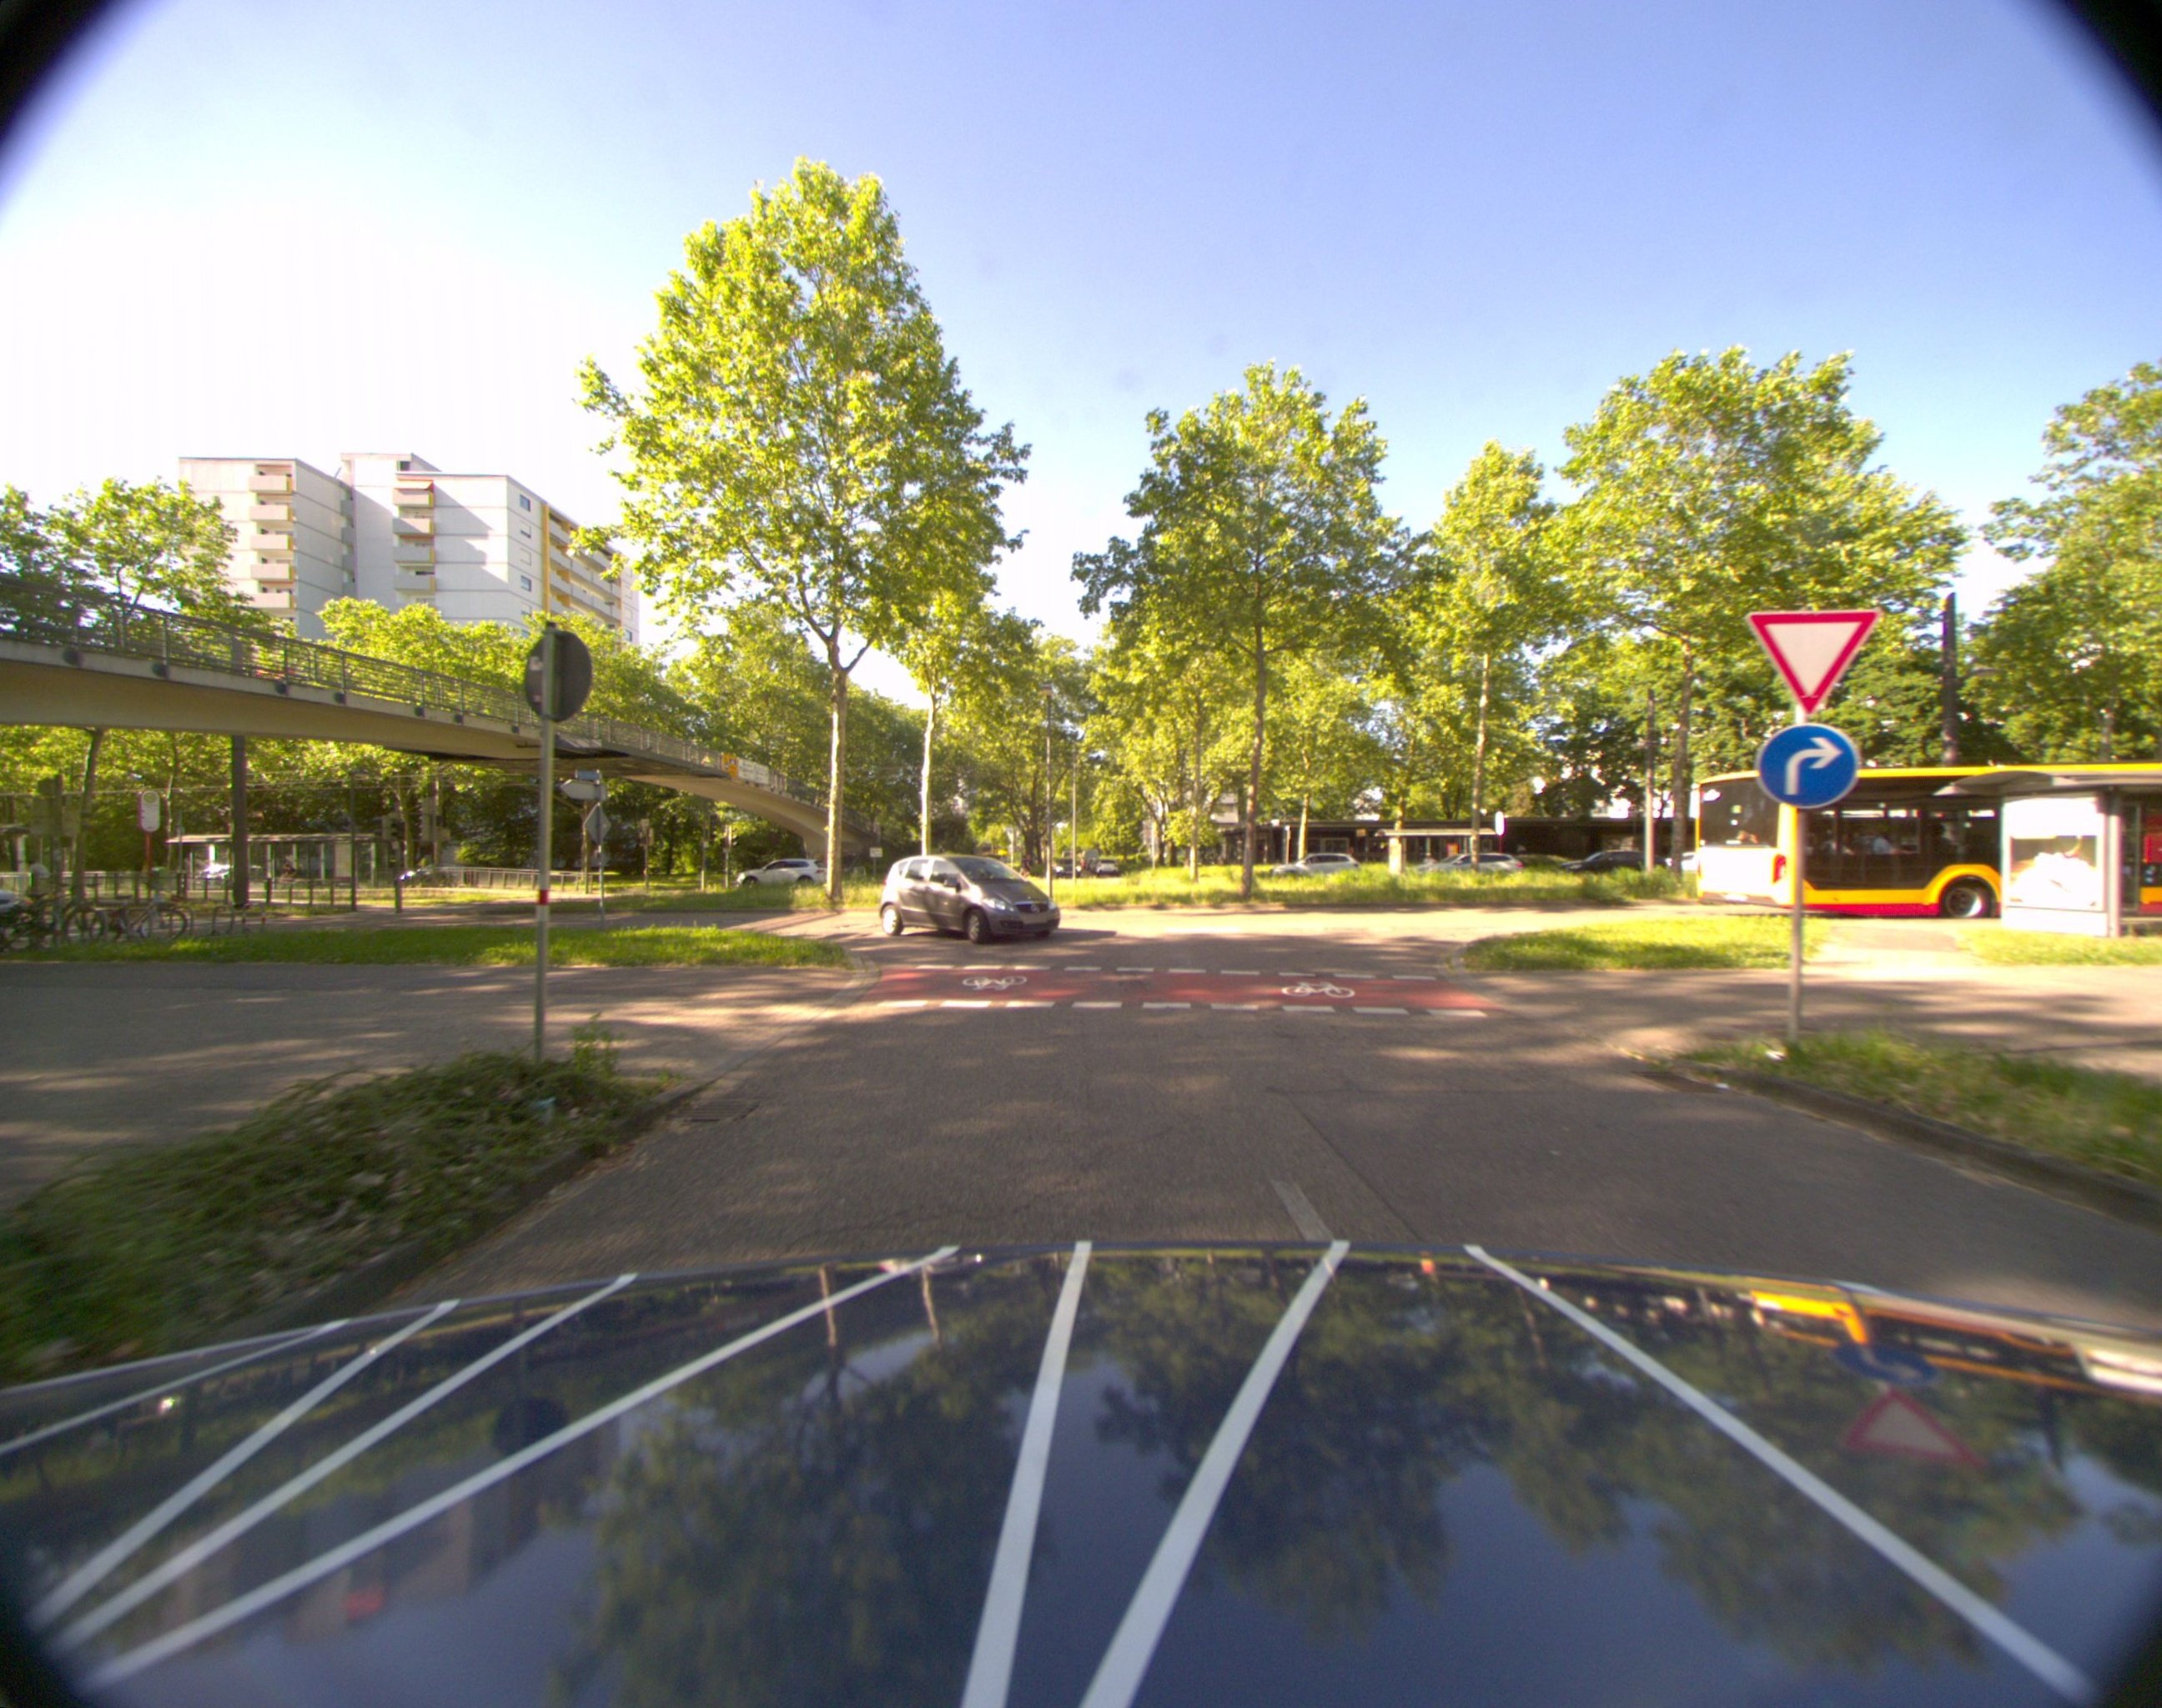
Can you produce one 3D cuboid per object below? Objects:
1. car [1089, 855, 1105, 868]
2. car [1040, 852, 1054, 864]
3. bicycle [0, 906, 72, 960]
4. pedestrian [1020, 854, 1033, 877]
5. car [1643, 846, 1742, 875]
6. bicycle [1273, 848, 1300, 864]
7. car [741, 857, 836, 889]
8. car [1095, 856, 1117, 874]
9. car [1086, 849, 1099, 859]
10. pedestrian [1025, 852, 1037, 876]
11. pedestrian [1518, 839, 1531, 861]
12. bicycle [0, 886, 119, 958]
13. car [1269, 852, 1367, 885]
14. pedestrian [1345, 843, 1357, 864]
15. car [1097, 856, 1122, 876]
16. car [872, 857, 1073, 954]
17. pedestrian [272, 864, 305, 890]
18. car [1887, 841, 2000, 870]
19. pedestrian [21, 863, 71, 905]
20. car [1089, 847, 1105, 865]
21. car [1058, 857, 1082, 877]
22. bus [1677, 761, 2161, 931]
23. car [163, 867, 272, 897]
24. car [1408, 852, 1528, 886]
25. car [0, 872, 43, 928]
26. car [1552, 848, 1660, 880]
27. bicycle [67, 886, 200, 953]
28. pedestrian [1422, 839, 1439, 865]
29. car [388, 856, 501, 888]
[{"bbox_3d":[1.857,0.833,89.469,1.799,1.501,3.999,-1,0,-1],"label":"car"},{"bbox_3d":[-4.681,0.524,104.430,1.799,1.501,3.999,-1,0,-1],"label":"car"},{"bbox_3d":[-17.467,1.288,12.376,1.472,0.846,0.507,-1,-3,4],"label":"bicycle"},{"bbox_3d":[-3.969,0.842,55.221,0.648,1.696,0.651,0,1,26],"label":"pedestrian"},{"bbox_3d":[33.409,0.341,41.561,1.804,1.501,3.989,-1,0,-42],"label":"car"},{"bbox_3d":[14.922,0.157,55.212,1.799,1.101,0.556,-1,1,-4],"label":"bicycle"},{"bbox_3d":[-14.729,0.935,38.376,4.085,1.501,1.800,-1,0,-2],"label":"car"},{"bbox_3d":[2.238,0.953,68.142,1.799,1.501,3.999,-1,0,-1],"label":"car"},{"bbox_3d":[1.714,0.064,117.857,1.864,1.501,3.999,-1,0,-1],"label":"car"},{"bbox_3d":[-3.681,0.766,56.246,0.648,1.773,0.651,0,1,26],"label":"pedestrian"},{"bbox_3d":[34.403,-0.305,58.956,0.650,1.652,0.650,-1,1,0],"label":"pedestrian"},{"bbox_3d":[-17.658,1.162,12.971,1.798,1.175,0.592,-1,-3,4],"label":"bicycle"},{"bbox_3d":[11.617,0.710,37.468,4.283,1.571,1.801,-1,0,5],"label":"car"},{"bbox_3d":[20.802,-0.026,58.532,0.650,1.652,0.650,-1,1,0],"label":"pedestrian"},{"bbox_3d":[2.327,0.975,62.486,1.799,1.501,3.999,-1,0,-1],"label":"car"},{"bbox_3d":[-2.166,0.876,14.585,3.752,1.580,1.804,-1,1,42],"label":"car"},{"bbox_3d":[-37.812,1.099,36.262,0.721,1.230,0.780,-1,1,3],"label":"pedestrian"},{"bbox_3d":[46.871,0.089,41.370,1.803,1.501,3.989,-1,0,-38],"label":"car"},{"bbox_3d":[-35.075,1.003,25.753,0.681,1.409,0.727,-1,1,4],"label":"pedestrian"},{"bbox_3d":[2.146,0.314,104.720,2.061,2.422,5.008,-1,0,-1],"label":"car"},{"bbox_3d":[-0.840,0.989,57.873,1.799,1.501,4.000,-1,-1,-1],"label":"car"},{"bbox_3d":[20.111,-0.164,16.174,12.204,3.248,2.910,-1,1,4],"label":"bus"},{"bbox_3d":[-48.407,1.560,42.655,4.283,1.557,1.801,-1,0,4],"label":"car"},{"bbox_3d":[17.944,0.684,35.404,4.670,1.501,1.800,-1,0,2],"label":"car"},{"bbox_3d":[-31.406,1.292,20.679,3.996,1.529,1.801,-1,0,3],"label":"car"},{"bbox_3d":[25.630,0.476,37.220,3.995,1.501,1.801,-1,0,6],"label":"car"},{"bbox_3d":[-17.641,1.215,14.163,1.798,1.175,0.592,-1,-3,4],"label":"bicycle"},{"bbox_3d":[19.362,-0.110,42.110,0.649,1.451,0.650,-1,1,6],"label":"pedestrian"},{"bbox_3d":[-32.813,0.923,39.256,4.285,1.557,1.800,-1,0,-1],"label":"car"}]
